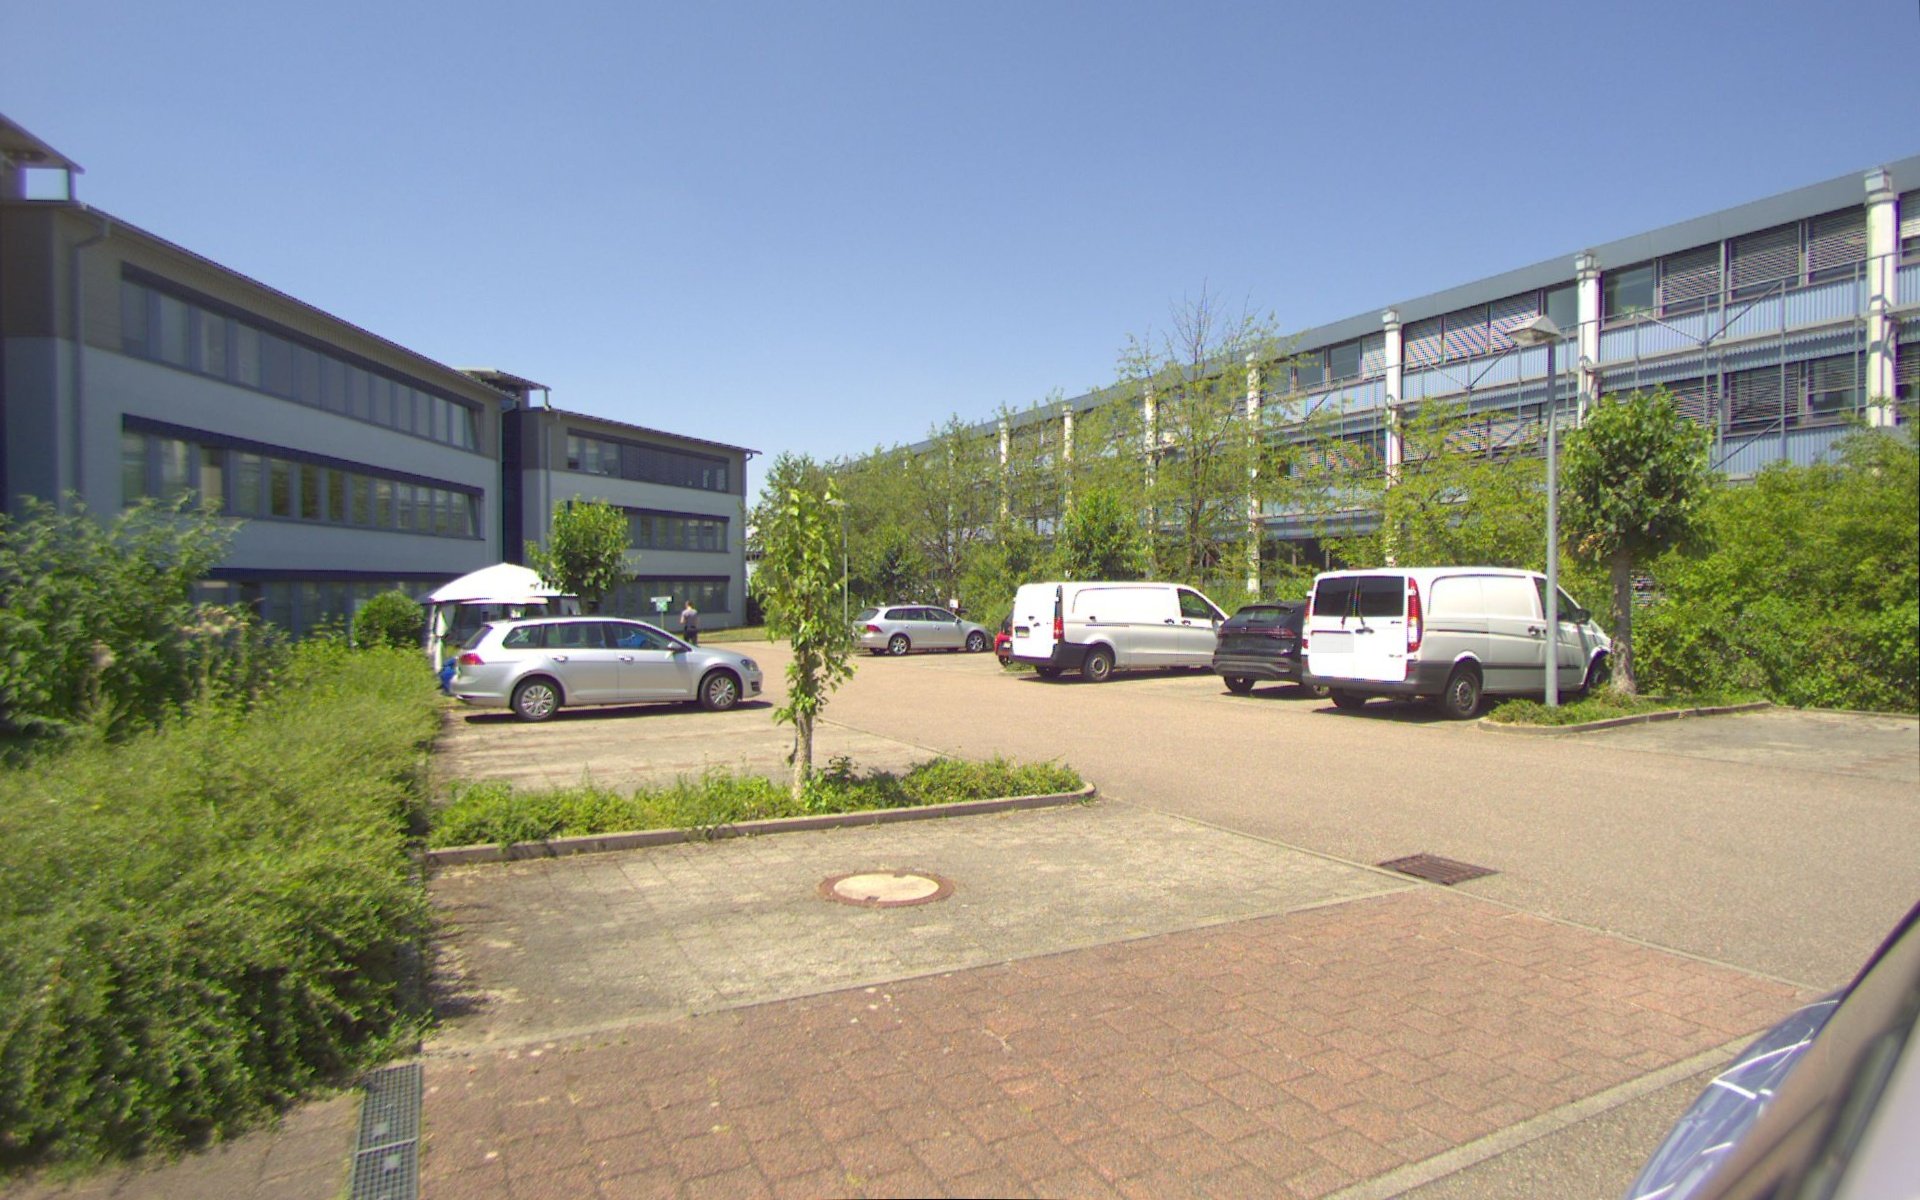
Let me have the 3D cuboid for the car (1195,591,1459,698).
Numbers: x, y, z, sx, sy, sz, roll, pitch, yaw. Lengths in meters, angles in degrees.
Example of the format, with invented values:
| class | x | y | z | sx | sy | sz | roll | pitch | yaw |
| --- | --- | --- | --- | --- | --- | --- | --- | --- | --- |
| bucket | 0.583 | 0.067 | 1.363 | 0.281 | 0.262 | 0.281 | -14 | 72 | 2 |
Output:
| class | x | y | z | sx | sy | sz | roll | pitch | yaw |
| --- | --- | --- | --- | --- | --- | --- | --- | --- | --- |
| car | 5.987 | 0.637 | 16.412 | 4.113 | 1.503 | 1.741 | -1 | 0 | -29 |

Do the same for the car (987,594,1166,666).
| class | x | y | z | sx | sy | sz | roll | pitch | yaw |
| --- | --- | --- | --- | --- | --- | --- | --- | --- | --- |
| car | 2.721 | 0.655 | 23.540 | 3.841 | 1.507 | 1.627 | -1 | 0 | -27 |

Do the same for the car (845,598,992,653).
| class | x | y | z | sx | sy | sz | roll | pitch | yaw |
| --- | --- | --- | --- | --- | --- | --- | --- | --- | --- |
| car | -1.224 | 0.724 | 30.182 | 4.001 | 1.503 | 1.742 | -1 | 0 | -26 |

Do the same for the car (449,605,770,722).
| class | x | y | z | sx | sy | sz | roll | pitch | yaw |
| --- | --- | --- | --- | --- | --- | --- | --- | --- | --- |
| car | -5.251 | 0.851 | 15.290 | 4.338 | 1.539 | 1.859 | 0 | 0 | -29 |

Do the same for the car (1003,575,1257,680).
| class | x | y | z | sx | sy | sz | roll | pitch | yaw |
| --- | --- | --- | --- | --- | --- | --- | --- | --- | --- |
| car | 3.424 | 0.473 | 20.183 | 4.834 | 1.879 | 1.859 | -1 | 0 | -27 |

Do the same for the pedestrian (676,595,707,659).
| class | x | y | z | sx | sy | sz | roll | pitch | yaw |
| --- | --- | --- | --- | --- | --- | --- | --- | --- | --- |
| pedestrian | -7.639 | 0.750 | 28.773 | 0.684 | 1.779 | 0.778 | -2 | 1 | -25 |

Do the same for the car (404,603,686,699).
| class | x | y | z | sx | sy | sz | roll | pitch | yaw |
| --- | --- | --- | --- | --- | --- | --- | --- | --- | --- |
| car | -7.441 | 0.830 | 18.235 | 4.520 | 1.513 | 1.859 | 0 | 0 | -29 |

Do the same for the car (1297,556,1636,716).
| class | x | y | z | sx | sy | sz | roll | pitch | yaw |
| --- | --- | --- | --- | --- | --- | --- | --- | --- | --- |
| car | 6.959 | 0.392 | 13.814 | 4.583 | 1.883 | 1.870 | -1 | 0 | -29 |
